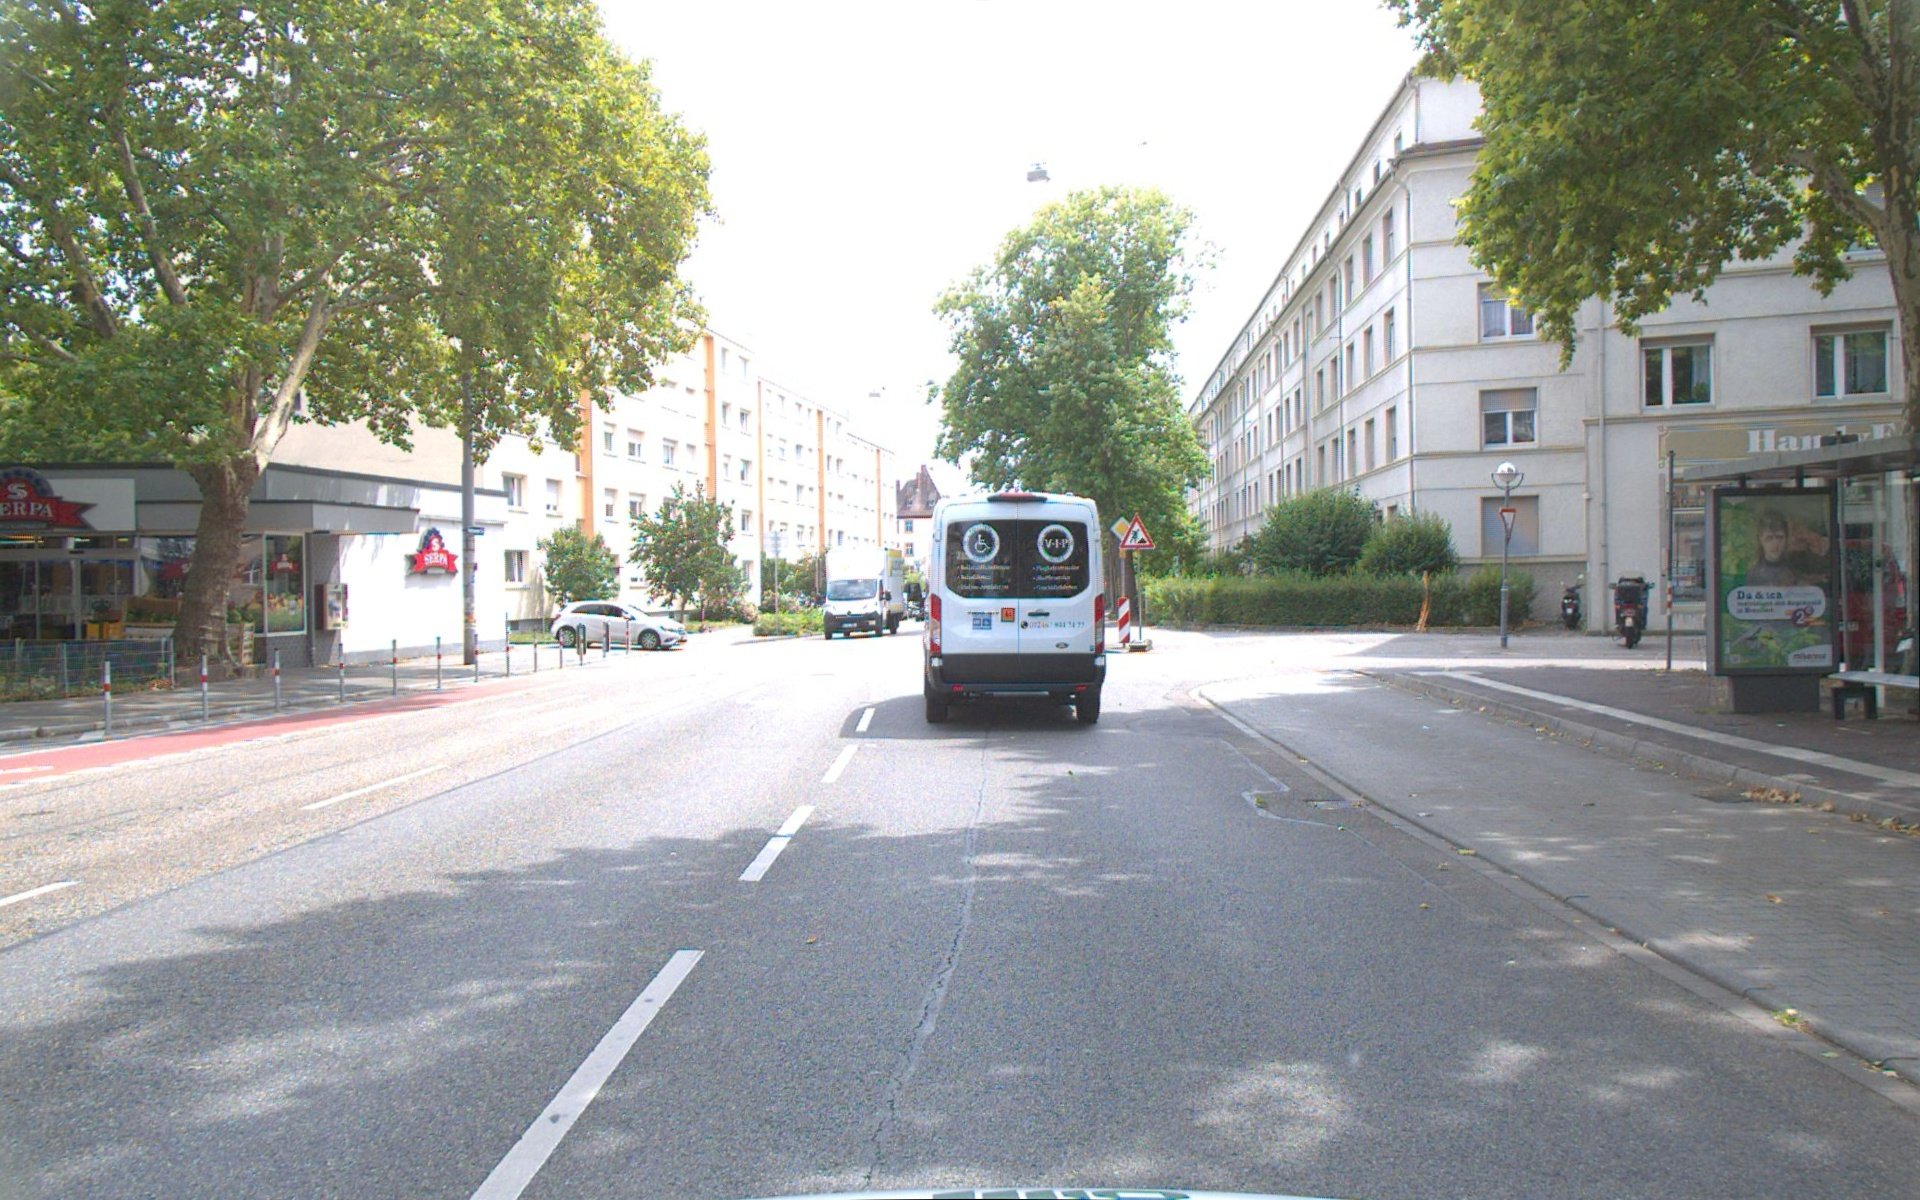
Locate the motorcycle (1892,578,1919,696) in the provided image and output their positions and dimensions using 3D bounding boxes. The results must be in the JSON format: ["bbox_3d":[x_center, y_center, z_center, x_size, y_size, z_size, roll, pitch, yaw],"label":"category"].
[{"bbox_3d":[11.098,0.376,17.840,1.817,1.244,0.531,-1,1,-3],"label":"motorcycle"}]

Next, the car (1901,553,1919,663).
[{"bbox_3d":[14.340,0.104,22.686,1.789,1.579,4.001,-2,0,20],"label":"car"}]

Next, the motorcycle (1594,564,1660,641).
[{"bbox_3d":[13.593,0.030,33.778,0.814,1.487,2.308,-1,1,11],"label":"motorcycle"}]

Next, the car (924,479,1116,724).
[{"bbox_3d":[0.736,0.005,19.849,2.027,2.585,4.636,0,0,2],"label":"car"}]

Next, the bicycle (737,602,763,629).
[{"bbox_3d":[-10.560,0.754,83.250,0.566,1.273,1.935,-1,1,15],"label":"bicycle"}]

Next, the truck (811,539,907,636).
[{"bbox_3d":[-3.563,-0.449,59.944,2.488,3.161,7.023,-3,0,3],"label":"truck"}]

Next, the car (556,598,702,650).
[{"bbox_3d":[-10.370,0.751,52.018,4.083,1.476,1.850,2,0,6],"label":"car"}]

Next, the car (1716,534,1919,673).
[{"bbox_3d":[11.884,0.031,23.204,1.892,1.735,4.332,-1,0,19],"label":"car"}]

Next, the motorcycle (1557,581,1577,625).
[{"bbox_3d":[15.097,0.078,41.126,0.423,1.033,1.449,-1,2,20],"label":"motorcycle"}]
